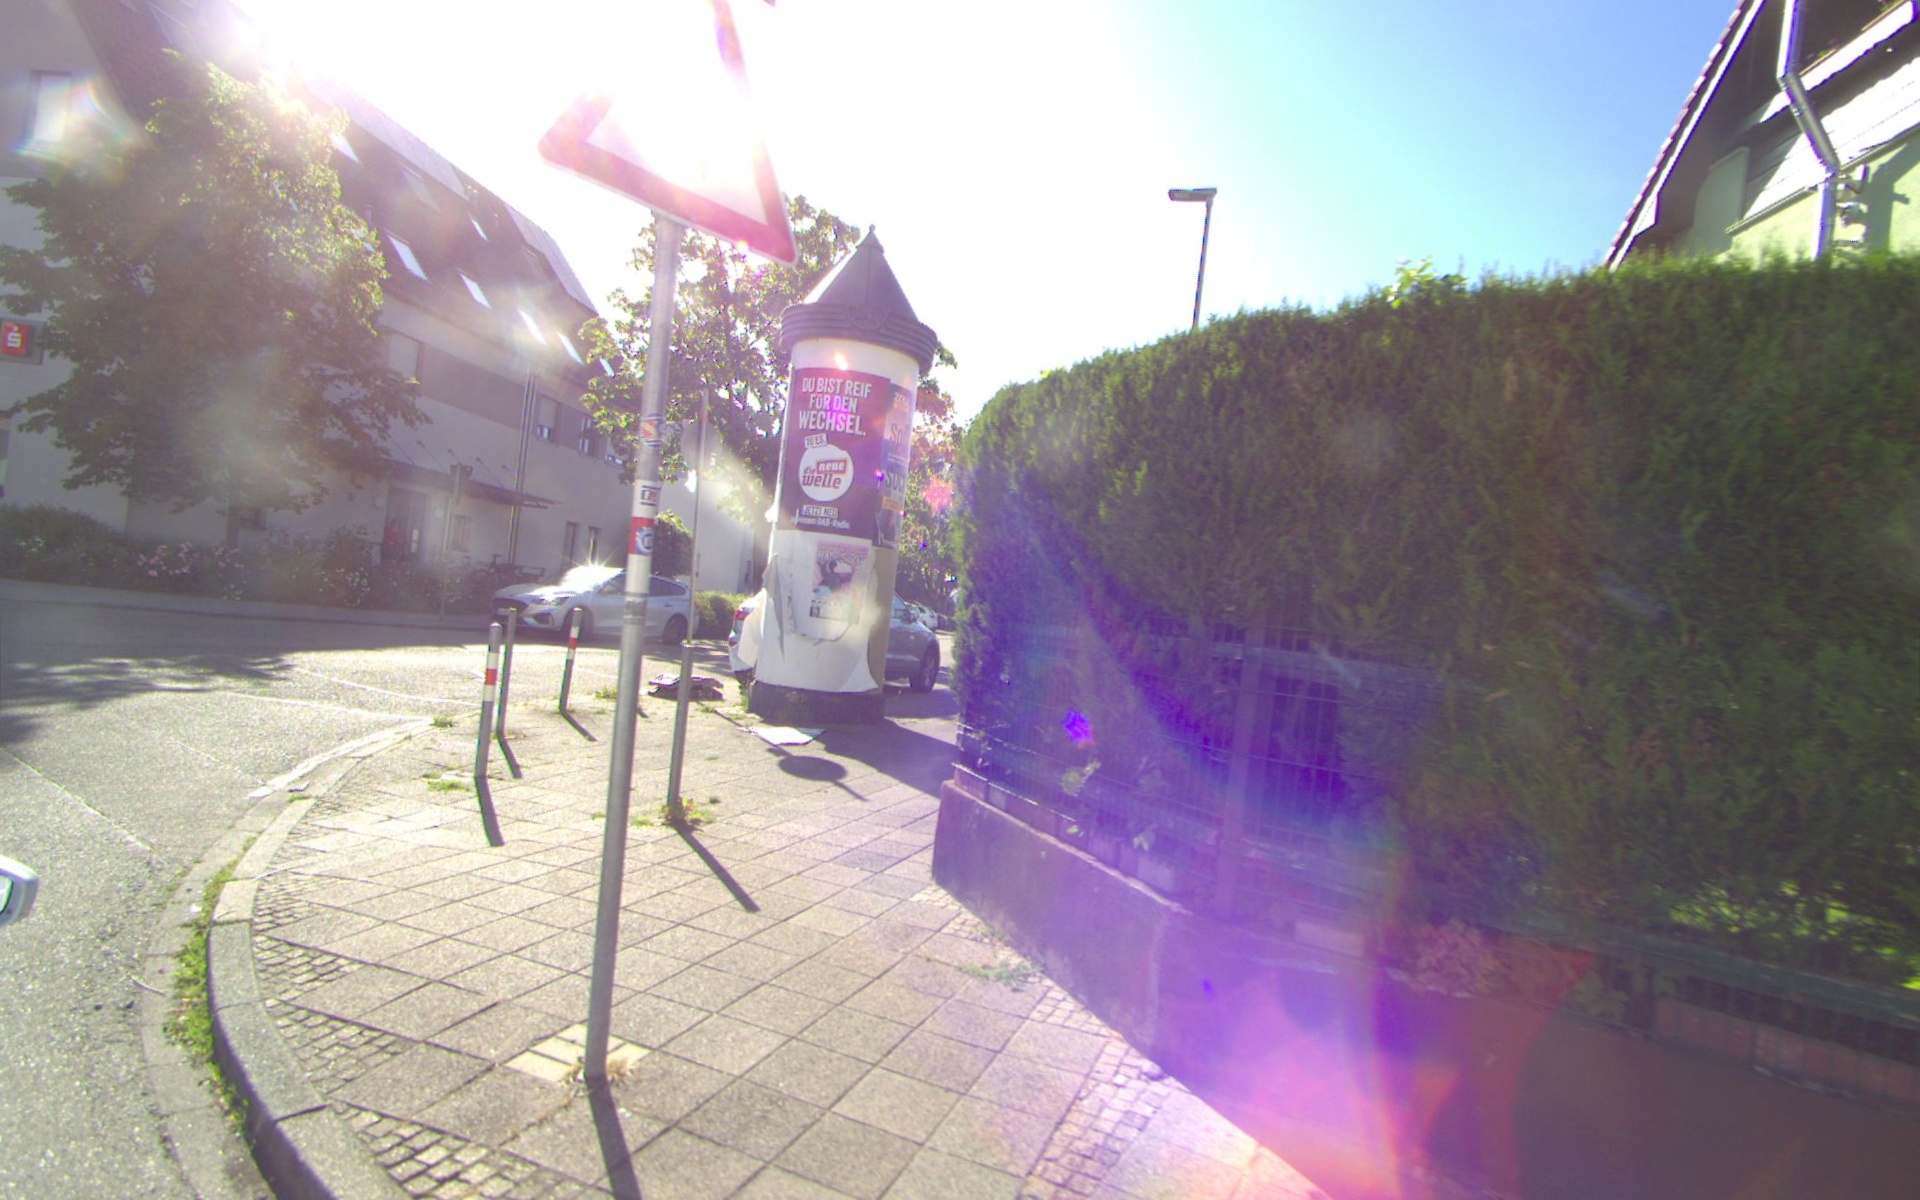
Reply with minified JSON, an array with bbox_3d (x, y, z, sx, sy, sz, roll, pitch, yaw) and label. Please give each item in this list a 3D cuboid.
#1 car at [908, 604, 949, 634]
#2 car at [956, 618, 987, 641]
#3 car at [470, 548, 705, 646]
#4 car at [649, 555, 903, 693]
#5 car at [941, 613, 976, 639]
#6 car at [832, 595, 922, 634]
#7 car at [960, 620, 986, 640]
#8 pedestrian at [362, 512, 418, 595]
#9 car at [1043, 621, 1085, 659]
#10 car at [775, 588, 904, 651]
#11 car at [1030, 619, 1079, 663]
[{"bbox_3d":[-1.778,1.090,58.410,1.666,1.518,3.725,6,0,8],"label":"car"},{"bbox_3d":[0.865,2.199,74.514,1.666,1.518,3.725,6,0,8],"label":"car"},{"bbox_3d":[-7.201,0.019,19.956,1.781,1.512,4.302,7,0,23],"label":"car"},{"bbox_3d":[-2.543,0.388,15.109,1.780,1.612,4.304,6,0,19],"label":"car"},{"bbox_3d":[-0.052,1.736,66.327,1.666,1.518,3.725,6,0,8],"label":"car"},{"bbox_3d":[-4.066,0.711,49.672,3.924,1.427,1.801,7,0,13],"label":"car"},{"bbox_3d":[1.175,2.623,87.619,1.666,1.518,3.725,6,0,8],"label":"car"},{"bbox_3d":[-14.872,-1.194,26.264,0.752,2.039,0.775,7,1,17],"label":"pedestrian"},{"bbox_3d":[4.837,1.829,46.556,1.666,1.518,3.725,6,0,8],"label":"car"},{"bbox_3d":[-3.499,0.628,30.134,1.781,1.512,4.302,7,0,23],"label":"car"},{"bbox_3d":[3.872,1.633,40.796,1.666,1.518,3.725,6,0,8],"label":"car"}]
